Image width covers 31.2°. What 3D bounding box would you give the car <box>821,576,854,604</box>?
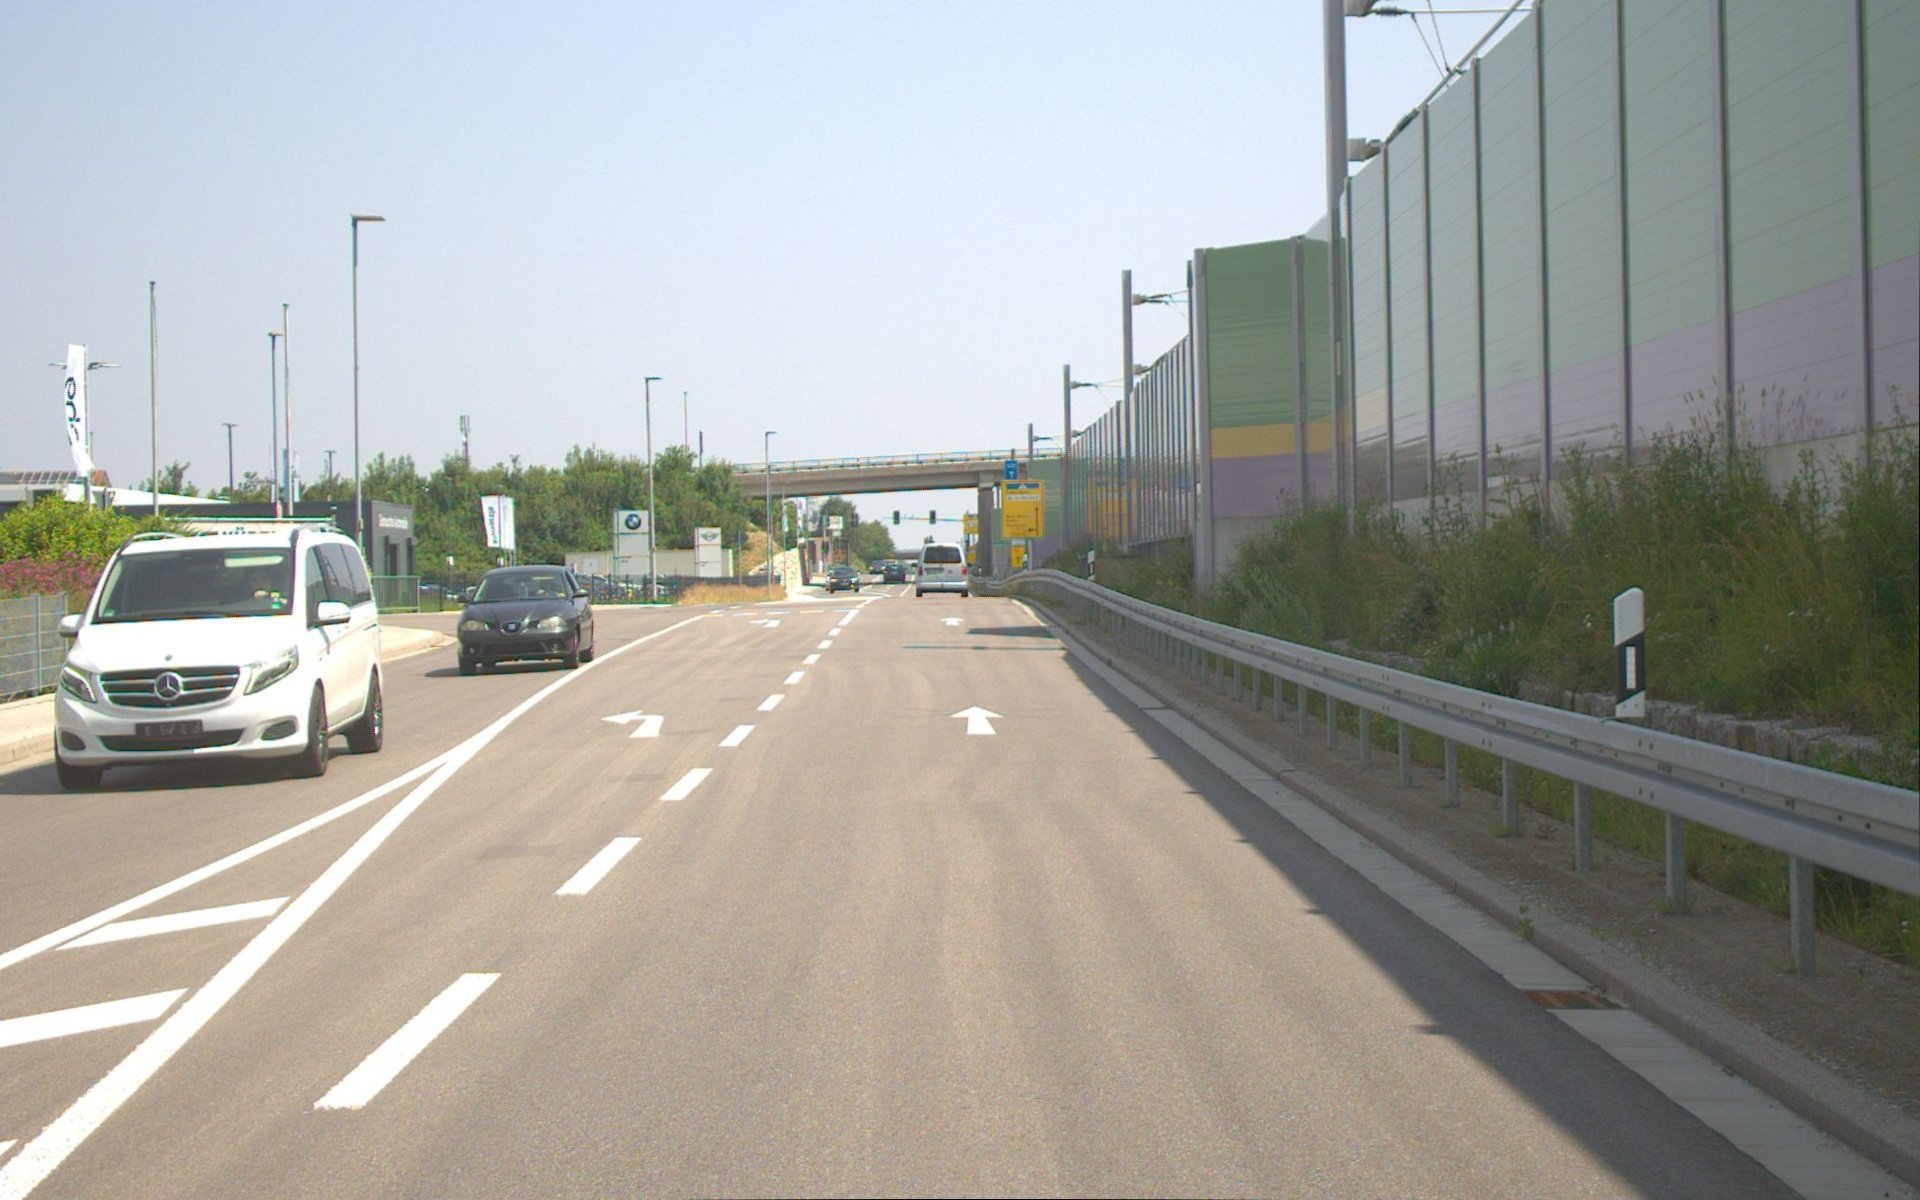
[{"bbox_3d":[-7.749,-0.650,217.695,1.877,1.667,4.291,-1,1,0],"label":"car"}]

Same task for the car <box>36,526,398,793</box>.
[{"bbox_3d":[-5.801,0.410,27.488,1.993,1.867,5.170,-2,1,-3],"label":"car"}]

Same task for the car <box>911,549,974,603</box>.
[{"bbox_3d":[-0.566,-0.816,115.042,1.993,1.751,4.000,-1,1,1],"label":"car"}]

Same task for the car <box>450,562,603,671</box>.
[{"bbox_3d":[-6.002,0.202,47.968,1.670,1.418,4.000,-1,1,-1],"label":"car"}]
